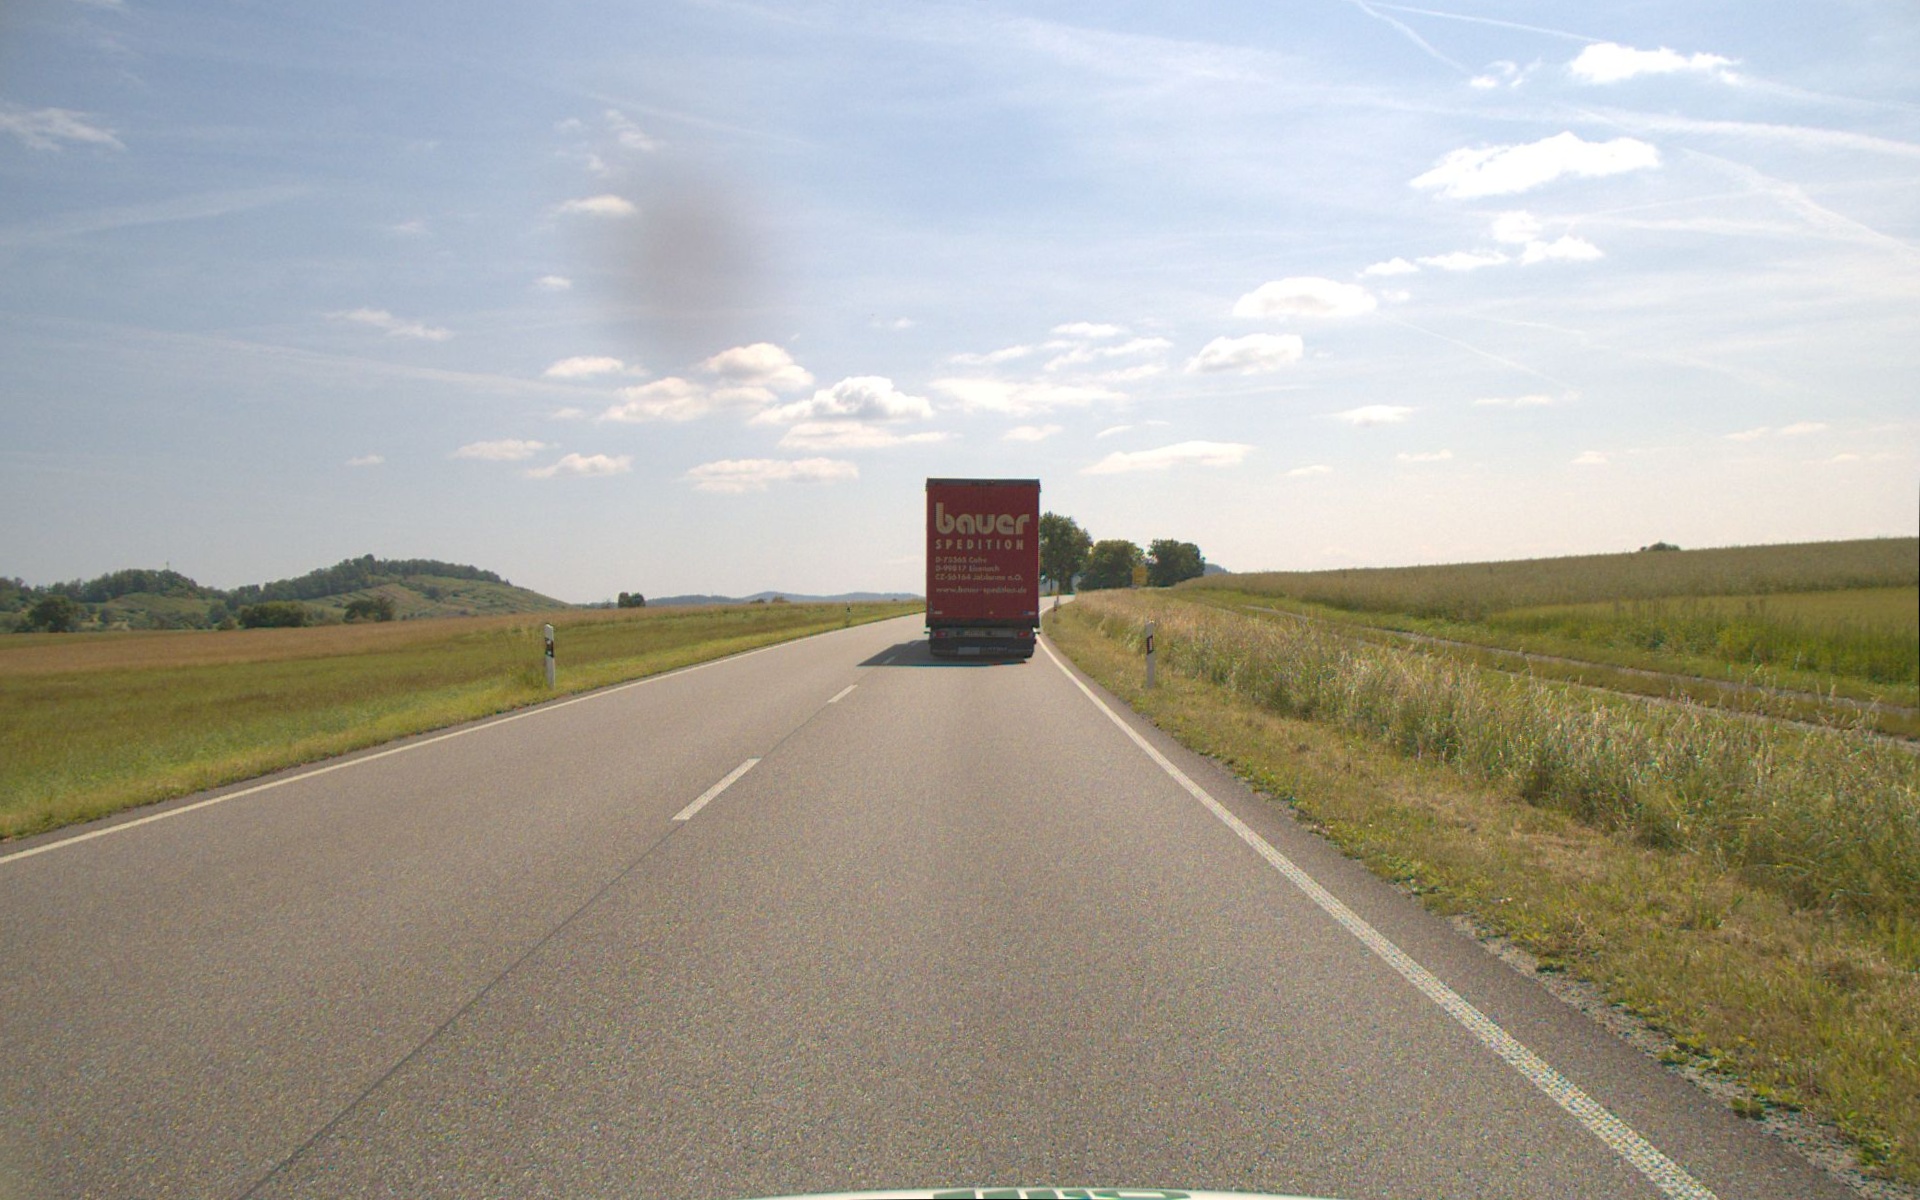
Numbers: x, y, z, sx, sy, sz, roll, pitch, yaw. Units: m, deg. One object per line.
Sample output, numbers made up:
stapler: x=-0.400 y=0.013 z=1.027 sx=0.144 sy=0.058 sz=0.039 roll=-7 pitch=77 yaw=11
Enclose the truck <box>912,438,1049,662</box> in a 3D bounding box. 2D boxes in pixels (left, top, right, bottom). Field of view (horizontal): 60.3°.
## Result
truck: x=0.584 y=-1.105 z=40.437 sx=2.913 sy=4.795 sz=9.368 roll=1 pitch=0 yaw=2
